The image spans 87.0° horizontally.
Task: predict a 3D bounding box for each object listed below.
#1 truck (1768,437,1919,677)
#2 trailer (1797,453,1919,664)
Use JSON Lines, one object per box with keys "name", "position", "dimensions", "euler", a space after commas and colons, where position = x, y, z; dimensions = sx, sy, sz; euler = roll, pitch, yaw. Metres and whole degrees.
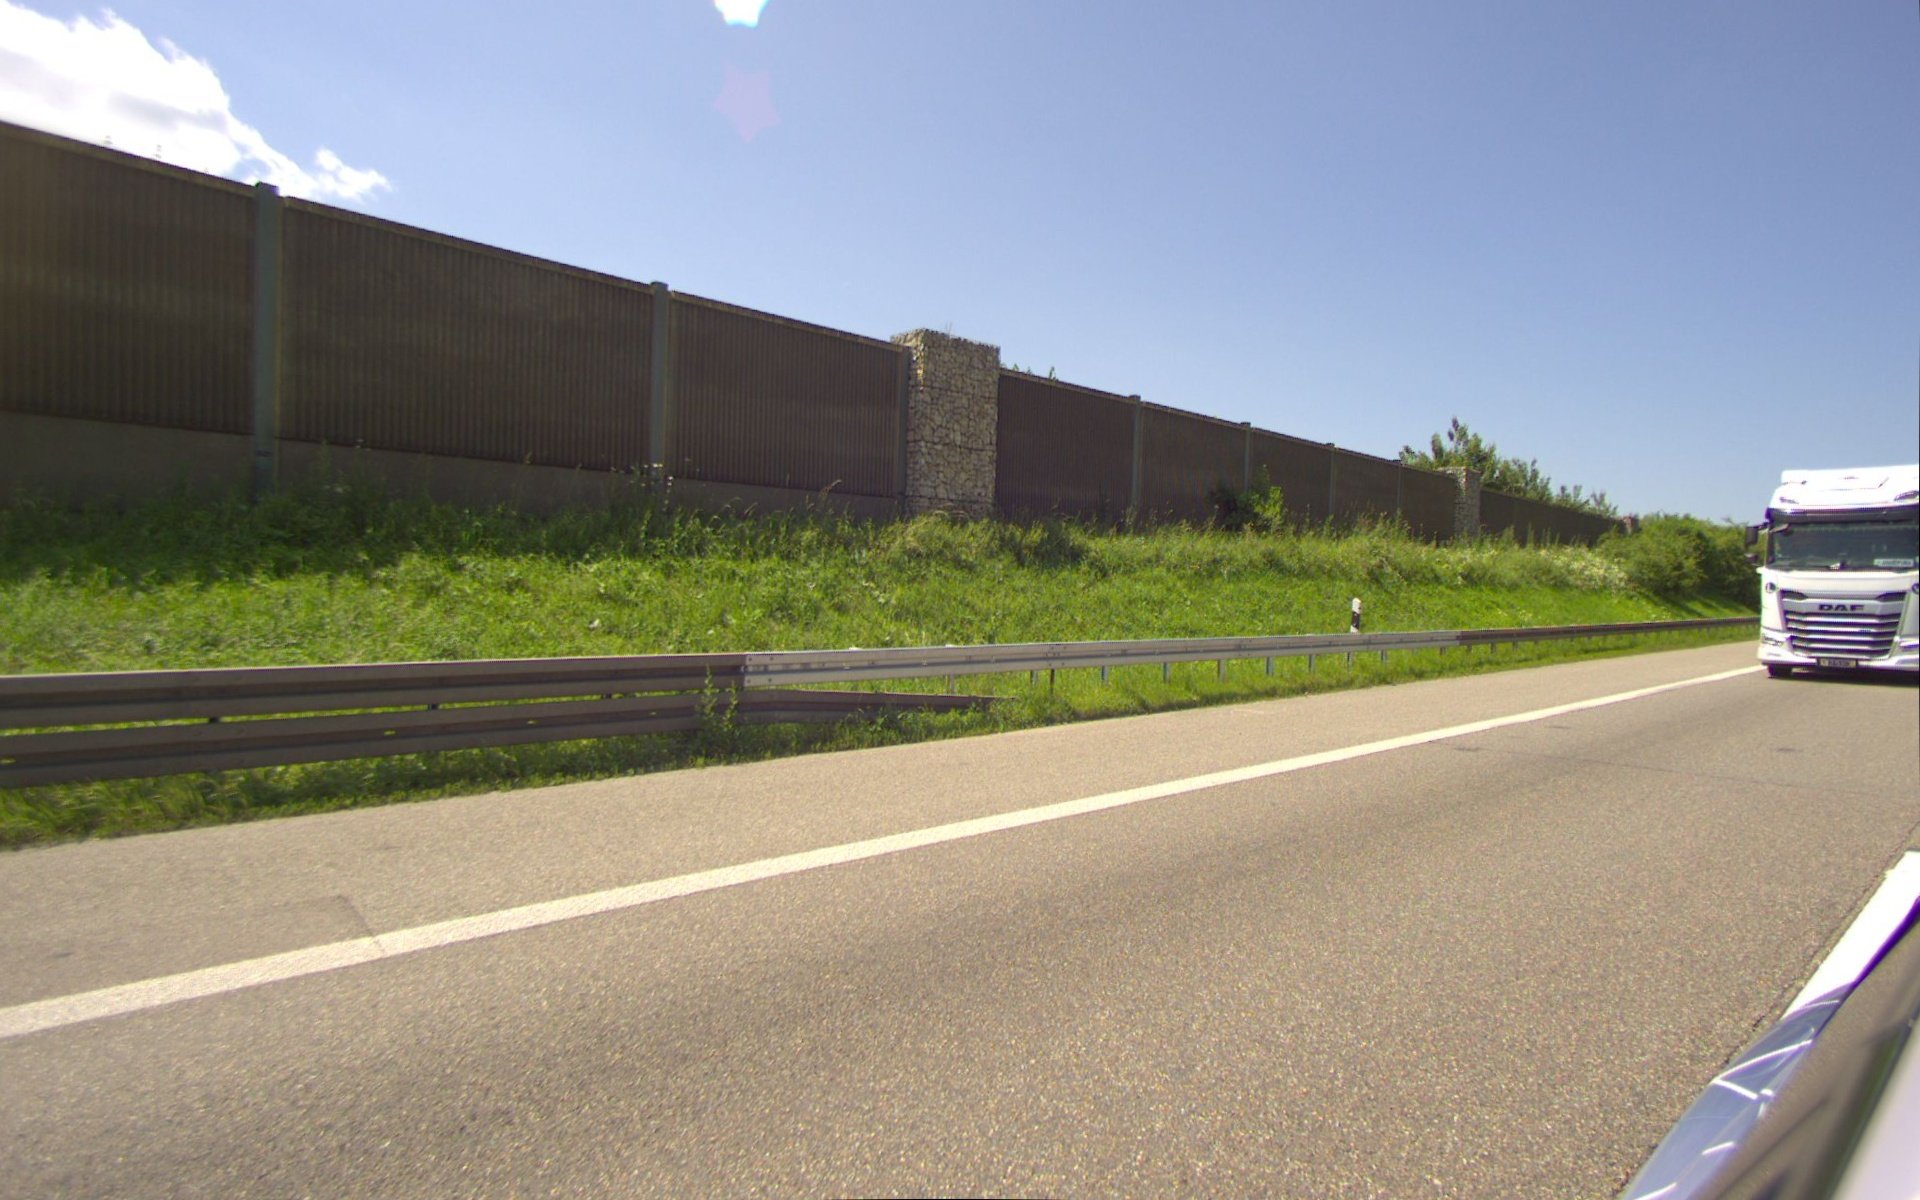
{"name": "truck", "position": [17.957, -0.755, 19.731], "dimensions": [6.272, 4.027, 2.481], "euler": [0, 1, -42]}
{"name": "trailer", "position": [22.901, -0.840, 24.271], "dimensions": [13.422, 4.027, 2.481], "euler": [0, 1, -42]}
